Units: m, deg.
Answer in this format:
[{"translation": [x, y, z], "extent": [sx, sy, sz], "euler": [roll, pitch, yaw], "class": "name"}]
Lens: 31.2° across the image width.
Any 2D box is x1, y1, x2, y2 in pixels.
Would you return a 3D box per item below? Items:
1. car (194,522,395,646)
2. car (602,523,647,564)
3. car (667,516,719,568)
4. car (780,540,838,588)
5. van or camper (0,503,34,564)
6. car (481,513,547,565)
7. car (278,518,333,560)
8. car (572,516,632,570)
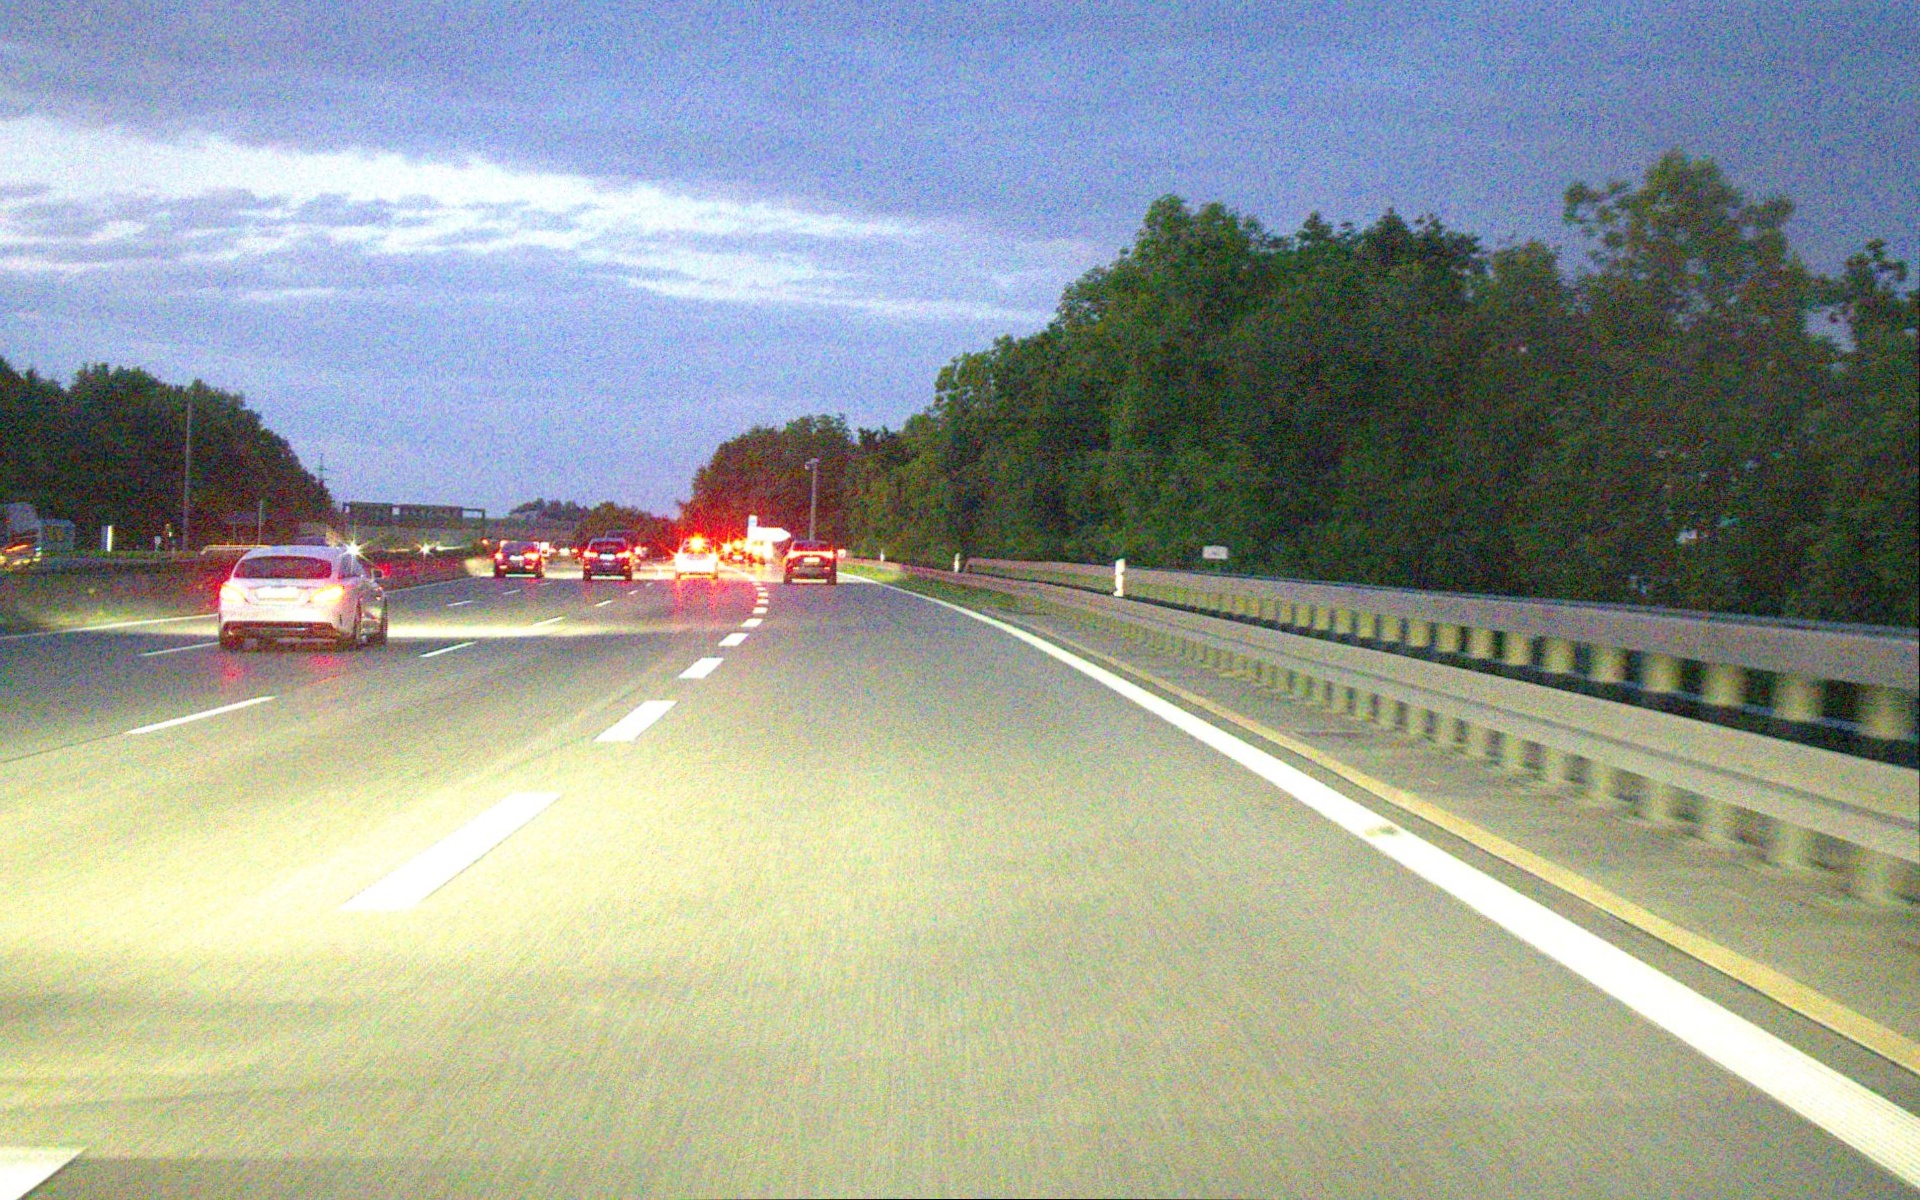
[{"translation": [-9.208, -0.255, 47.914], "extent": [1.993, 1.637, 4.555], "euler": [0, 1, -1], "class": "car"}, {"translation": [-16.616, -2.776, 169.942], "extent": [1.993, 2.007, 4.001], "euler": [1, 1, -9], "class": "car"}, {"translation": [-10.695, -2.326, 137.808], "extent": [1.993, 2.007, 4.001], "euler": [1, 1, -4], "class": "car"}, {"translation": [-5.529, -1.328, 125.264], "extent": [1.993, 1.653, 4.315], "euler": [1, 1, -4], "class": "car"}, {"translation": [-32.884, -2.220, 115.168], "extent": [2.377, 2.007, 6.494], "euler": [1, 1, -4], "class": "van or camper"}, {"translation": [-17.532, -2.415, 135.355], "extent": [2.104, 2.007, 4.000], "euler": [0, 1, -1], "class": "car"}, {"translation": [-32.472, -3.010, 170.597], "extent": [1.993, 2.007, 4.495], "euler": [1, 1, -2], "class": "car"}, {"translation": [-13.486, -2.148, 129.618], "extent": [2.071, 2.007, 4.001], "euler": [0, 1, -3], "class": "car"}]
